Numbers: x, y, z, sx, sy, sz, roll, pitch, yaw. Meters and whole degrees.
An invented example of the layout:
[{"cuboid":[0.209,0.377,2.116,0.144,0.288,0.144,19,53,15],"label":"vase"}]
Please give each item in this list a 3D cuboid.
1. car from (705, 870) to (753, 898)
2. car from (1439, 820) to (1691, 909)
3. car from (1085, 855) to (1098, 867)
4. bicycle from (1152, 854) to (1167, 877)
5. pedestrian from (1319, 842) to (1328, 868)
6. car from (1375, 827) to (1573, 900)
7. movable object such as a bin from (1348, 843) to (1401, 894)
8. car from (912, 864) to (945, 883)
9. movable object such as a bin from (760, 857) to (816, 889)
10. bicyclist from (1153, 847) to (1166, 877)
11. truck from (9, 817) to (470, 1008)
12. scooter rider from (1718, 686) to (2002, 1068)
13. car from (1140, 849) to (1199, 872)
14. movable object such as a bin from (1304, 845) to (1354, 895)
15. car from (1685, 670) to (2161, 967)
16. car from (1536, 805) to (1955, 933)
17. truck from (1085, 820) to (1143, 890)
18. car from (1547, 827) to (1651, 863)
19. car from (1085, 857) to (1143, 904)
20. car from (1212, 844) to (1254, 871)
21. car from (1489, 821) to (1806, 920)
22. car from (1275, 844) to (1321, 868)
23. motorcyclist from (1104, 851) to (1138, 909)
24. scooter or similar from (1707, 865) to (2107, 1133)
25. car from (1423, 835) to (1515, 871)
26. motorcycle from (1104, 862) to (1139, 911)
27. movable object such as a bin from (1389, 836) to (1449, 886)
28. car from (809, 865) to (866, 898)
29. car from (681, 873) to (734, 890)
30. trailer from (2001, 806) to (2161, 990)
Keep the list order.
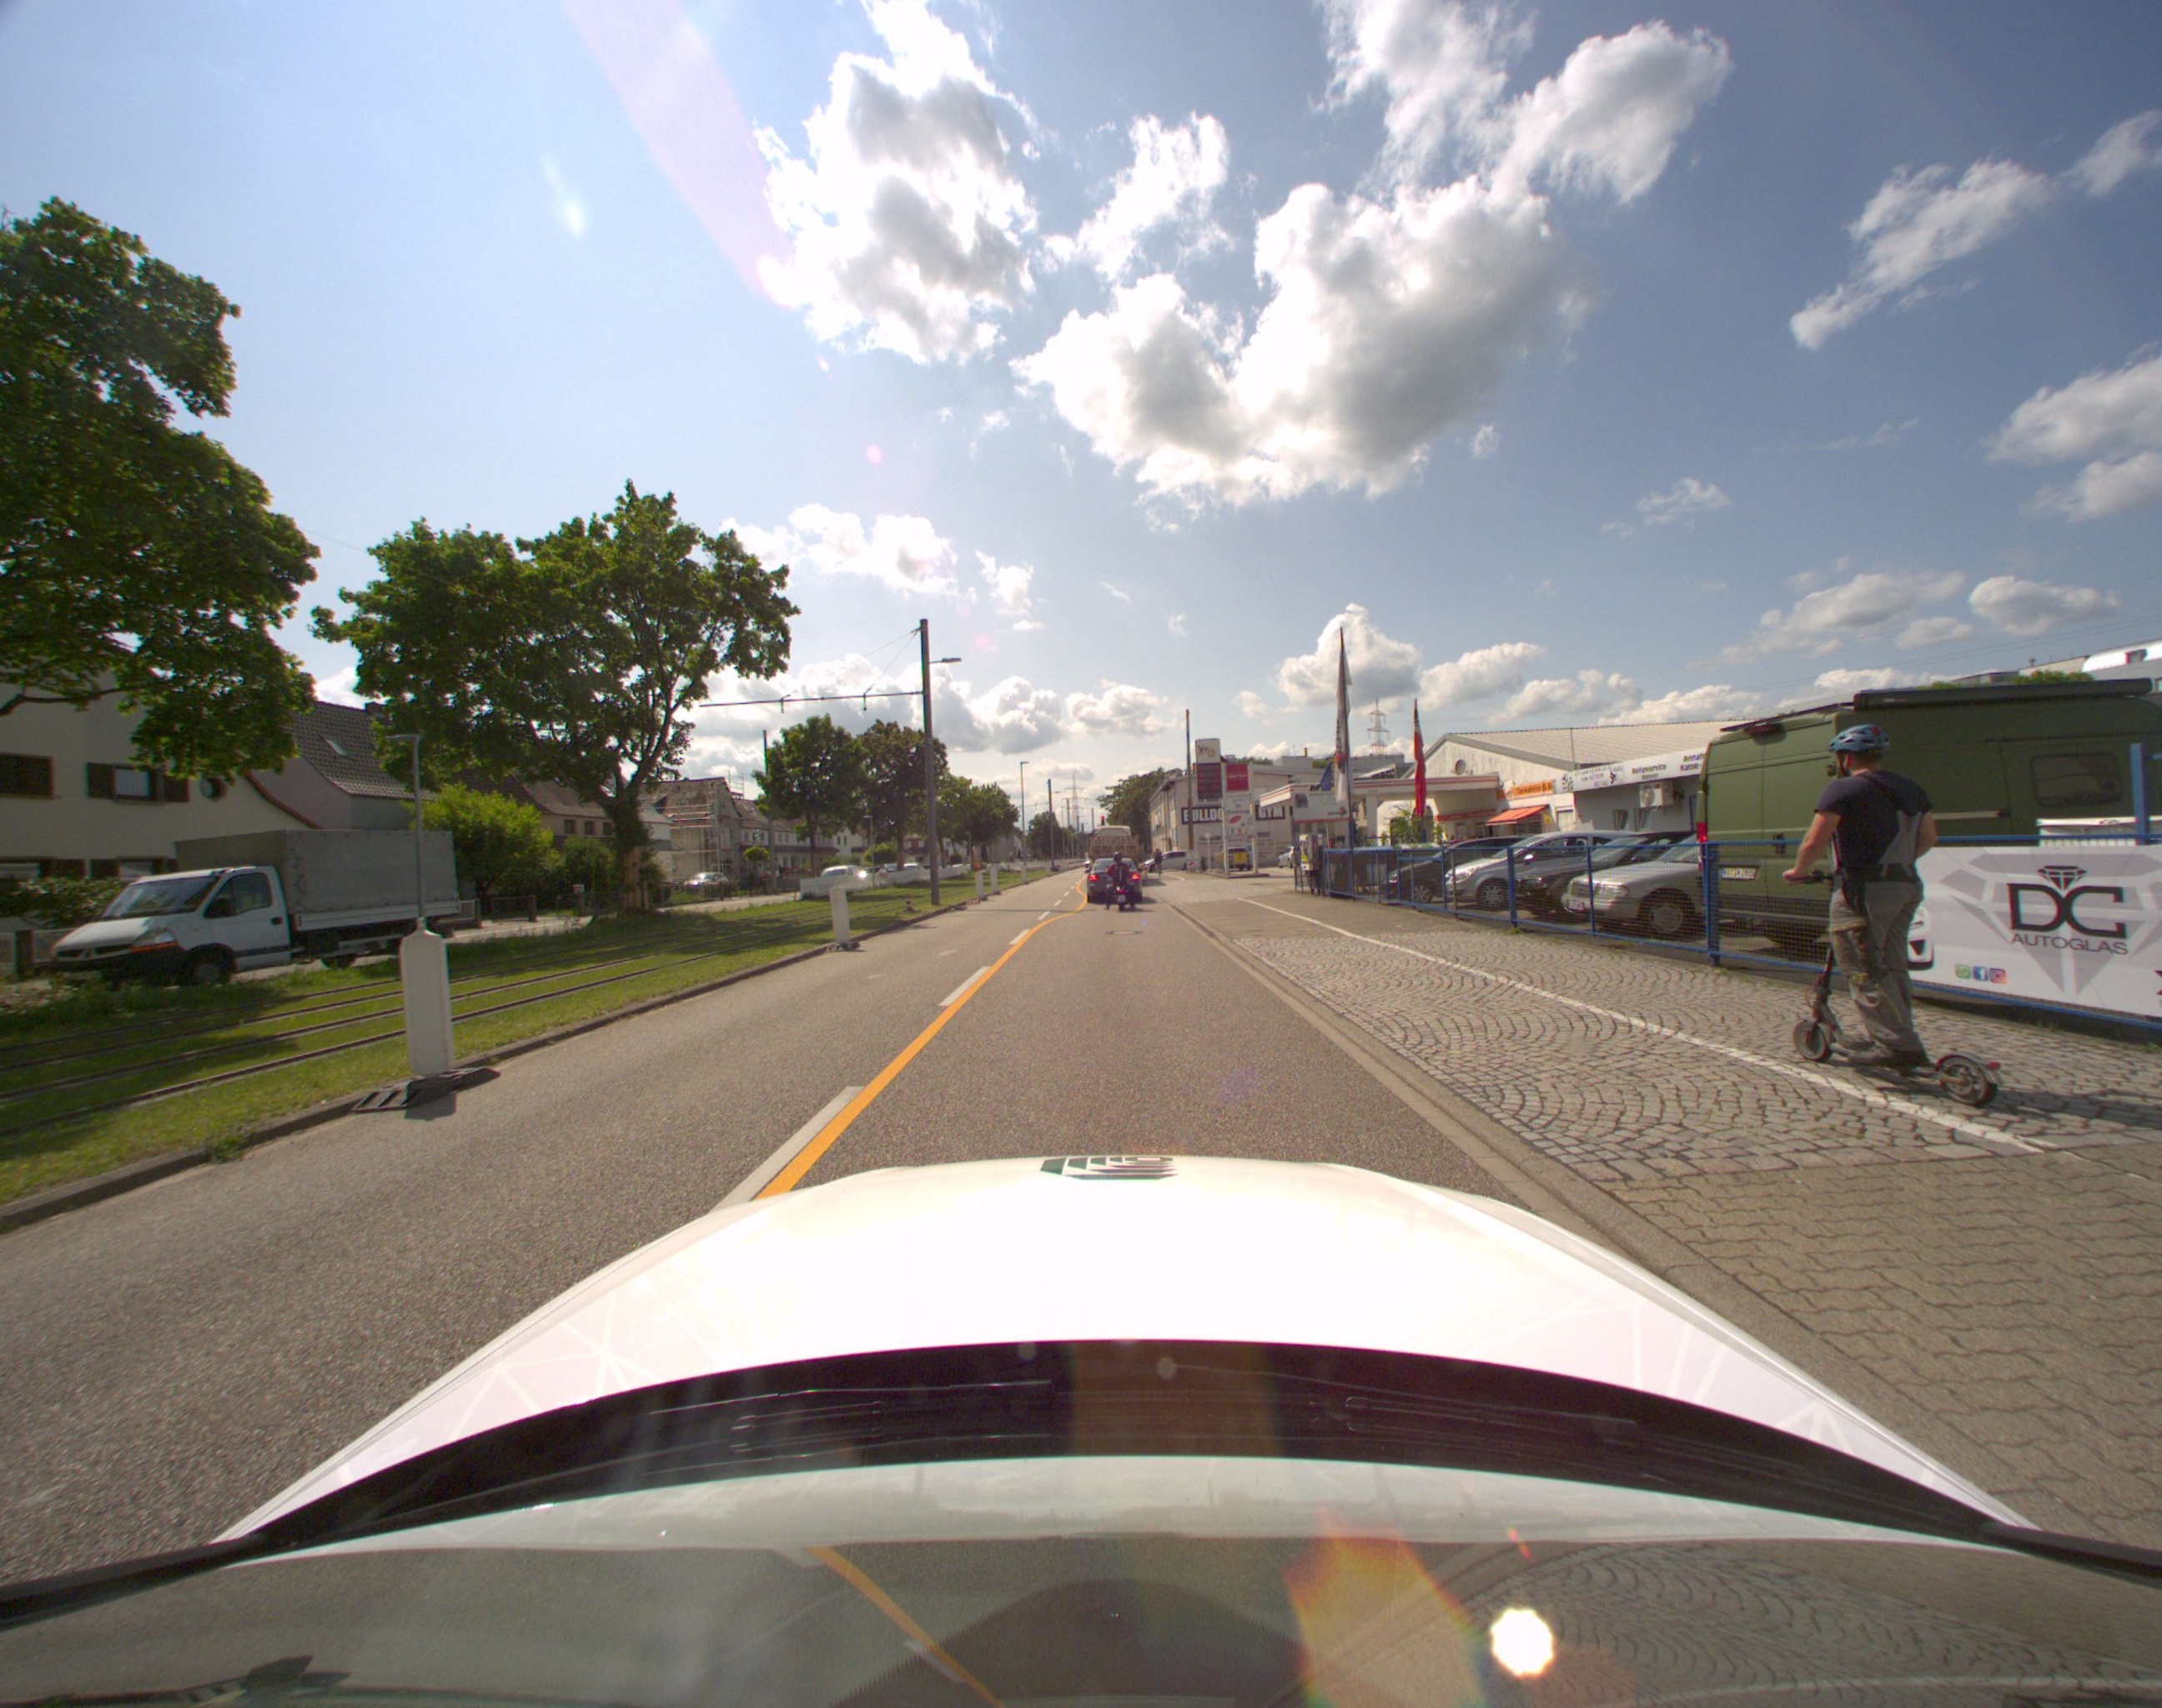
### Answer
[{"cuboid":[-23.307,1.969,53.953,1.678,1.722,3.031,-4,-1,2],"label":"car"},{"cuboid":[9.457,0.228,16.281,3.956,1.496,1.758,-3,-1,17],"label":"car"},{"cuboid":[1.403,0.939,108.518,1.649,1.447,4.302,-4,0,0],"label":"car"},{"cuboid":[4.794,0.683,49.761,0.690,1.361,2.420,-3,0,3],"label":"bicycle"},{"cuboid":[15.906,0.059,53.416,0.395,1.689,0.486,-4,-1,3],"label":"pedestrian"},{"cuboid":[9.048,0.232,19.110,3.954,1.443,1.719,-3,-1,19],"label":"car"},{"cuboid":[9.045,0.444,25.119,1.251,1.444,0.824,-4,-1,2],"label":"movable object such as a bin"},{"cuboid":[-13.767,1.758,73.864,1.986,1.606,4.002,-4,-1,2],"label":"car"},{"cuboid":[-24.907,1.603,69.375,4.351,2.449,1.777,-3,0,-20],"label":"movable object such as a bin"},{"cuboid":[4.758,0.491,49.511,0.669,1.744,0.814,-3,0,1],"label":"bicyclist"},{"cuboid":[-15.376,0.897,15.735,1.986,2.767,6.279,-6,0,2],"label":"truck"},{"cuboid":[4.407,0.125,4.685,0.714,1.963,0.786,-4,-2,2],"label":"scooter rider"},{"cuboid":[7.083,0.532,65.296,4.325,1.551,1.945,-4,-1,-7],"label":"car"},{"cuboid":[7.679,0.505,25.264,1.251,1.444,0.824,-4,-1,2],"label":"movable object such as a bin"},{"cuboid":[9.451,-0.356,8.503,4.517,2.573,2.153,-3,-1,3],"label":"car"},{"cuboid":[8.996,0.218,11.409,4.159,1.431,1.825,-3,-1,8],"label":"car"},{"cuboid":[1.834,-0.015,44.337,2.600,3.255,9.189,-4,1,3],"label":"truck"},{"cuboid":[22.831,-0.385,35.979,3.482,1.360,1.612,-4,-1,2],"label":"car"},{"cuboid":[1.134,0.859,27.999,1.815,1.424,4.002,-2,0,2],"label":"car"},{"cuboid":[10.121,0.244,54.590,1.953,1.648,3.999,-4,-1,0],"label":"car"},{"cuboid":[9.351,0.283,13.793,3.962,1.356,1.825,-3,-1,10],"label":"car"},{"cuboid":[14.644,0.163,55.193,1.953,1.420,3.999,-4,-1,0],"label":"car"},{"cuboid":[1.137,0.737,23.341,0.936,1.615,1.205,-1,-1,2],"label":"motorcyclist"},{"cuboid":[4.427,0.679,4.566,0.538,1.195,1.611,-5,-1,2],"label":"scooter or similar"},{"cuboid":[17.433,-0.030,36.686,3.308,1.360,1.612,-4,-1,2],"label":"car"},{"cuboid":[1.143,0.891,23.521,0.936,1.320,2.646,-1,-1,2],"label":"motorcycle"},{"cuboid":[10.364,0.216,25.022,1.318,1.444,0.953,-3,-1,-5],"label":"movable object such as a bin"},{"cuboid":[-14.500,1.624,48.708,1.986,1.750,4.002,-4,-1,2],"label":"car"},{"cuboid":[-26.222,1.921,57.303,1.677,1.052,3.984,-4,-1,3],"label":"car"},{"cuboid":[9.330,0.243,6.321,2.771,1.333,1.303,-4,-1,2],"label":"trailer"}]
